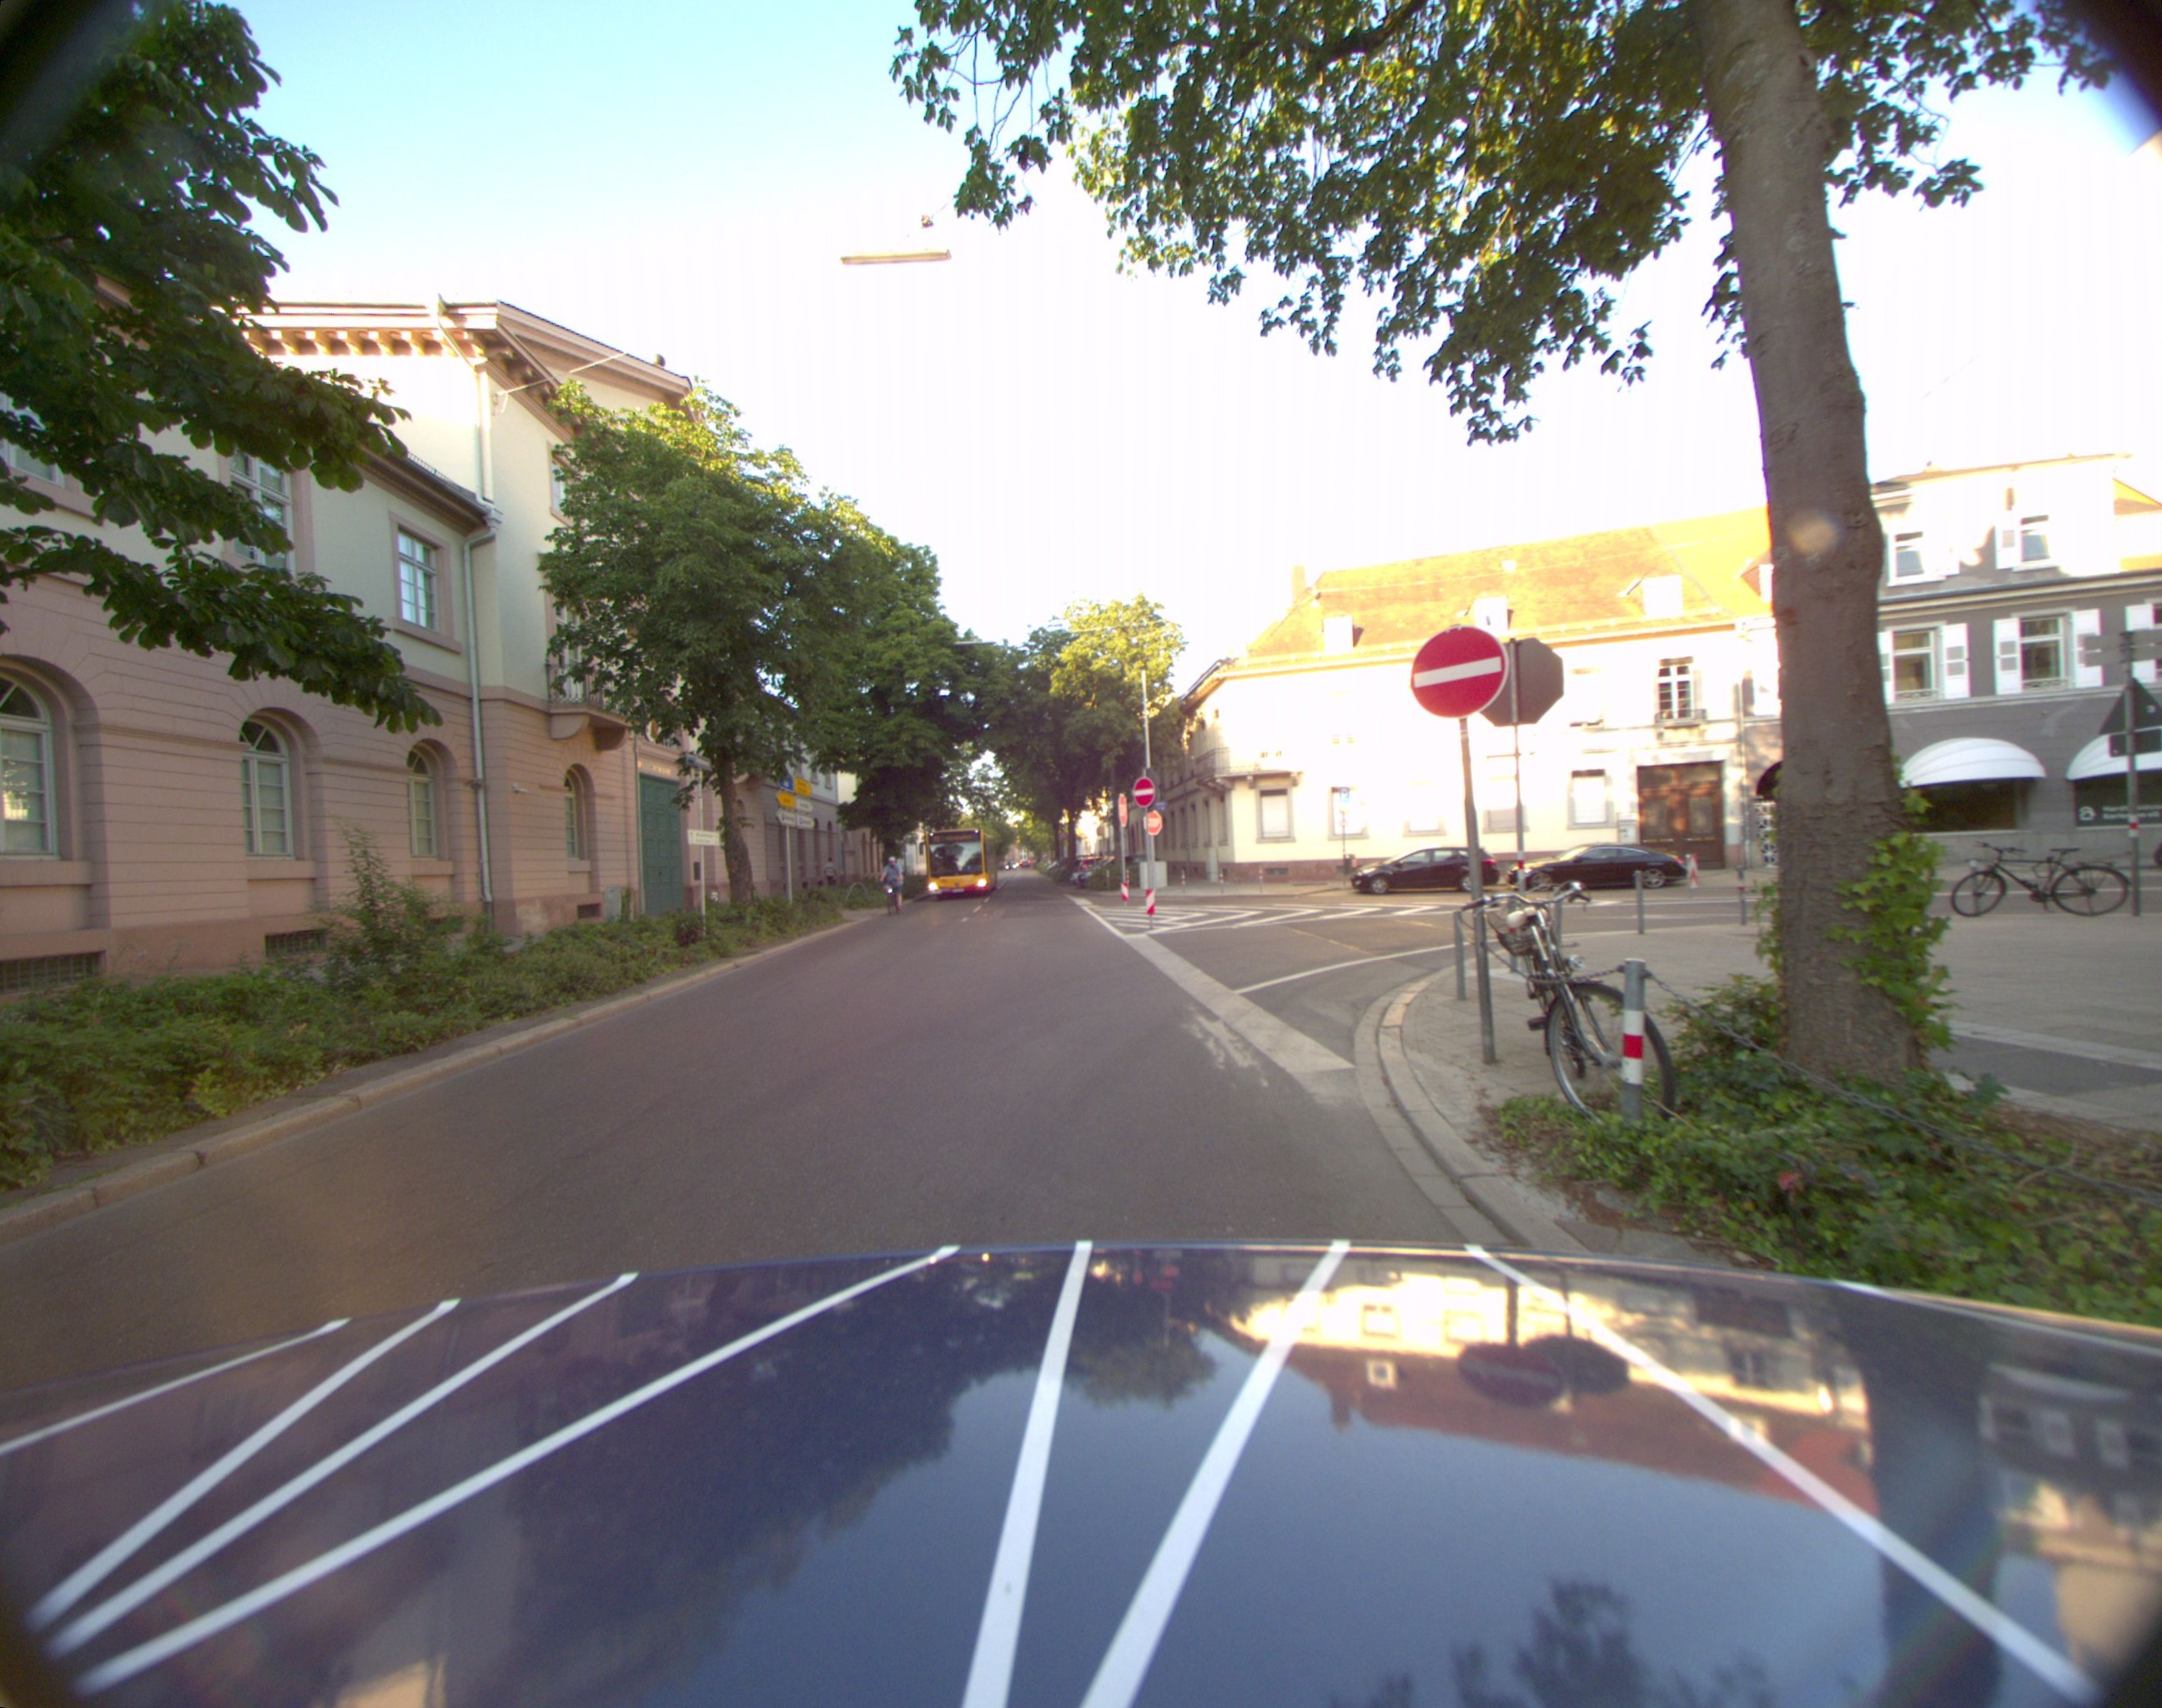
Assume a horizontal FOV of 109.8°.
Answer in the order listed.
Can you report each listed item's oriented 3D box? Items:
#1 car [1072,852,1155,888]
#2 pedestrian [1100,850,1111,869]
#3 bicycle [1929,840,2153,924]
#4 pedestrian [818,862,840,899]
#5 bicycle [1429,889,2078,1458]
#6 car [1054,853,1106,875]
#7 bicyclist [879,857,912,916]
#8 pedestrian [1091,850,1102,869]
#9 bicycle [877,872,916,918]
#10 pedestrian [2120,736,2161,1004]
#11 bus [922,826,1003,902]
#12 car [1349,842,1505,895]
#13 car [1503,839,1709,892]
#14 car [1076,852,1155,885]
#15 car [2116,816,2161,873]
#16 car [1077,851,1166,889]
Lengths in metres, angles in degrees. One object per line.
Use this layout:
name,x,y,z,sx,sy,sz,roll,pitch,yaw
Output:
car,1.614,0.800,38.701,3.999,1.606,1.723,-2,0,-6
pedestrian,2.307,0.536,71.328,0.895,1.760,1.021,-2,0,-5
bicycle,13.620,0.421,10.870,1.799,1.119,0.730,-3,-3,27
pedestrian,-13.036,1.357,39.366,0.801,1.821,0.929,-2,0,-6
bicycle,2.254,0.852,3.193,0.844,1.260,2.575,-2,0,11
car,-0.089,0.787,61.073,3.999,1.606,1.723,-2,0,-6
bicyclist,-5.991,1.039,24.620,0.783,1.828,0.826,-4,1,-4
pedestrian,1.452,0.481,71.235,0.807,1.760,1.021,-2,0,-5
bicycle,-5.978,1.301,24.690,0.783,1.322,2.077,-4,0,-4
pedestrian,7.171,0.084,4.335,0.849,1.728,1.269,-4,-1,22
bus,-5.597,0.428,37.972,2.712,2.983,12.077,-4,0,-4
car,11.105,0.480,24.738,4.421,1.532,1.810,-2,0,19
car,15.759,0.364,23.132,4.847,1.386,1.781,-2,-1,20
car,1.837,0.762,41.154,3.999,1.606,1.723,-2,0,-6
car,29.503,-0.314,18.871,4.241,1.438,1.750,-2,0,19
car,1.889,0.762,36.315,3.999,1.606,1.828,-2,0,-6
